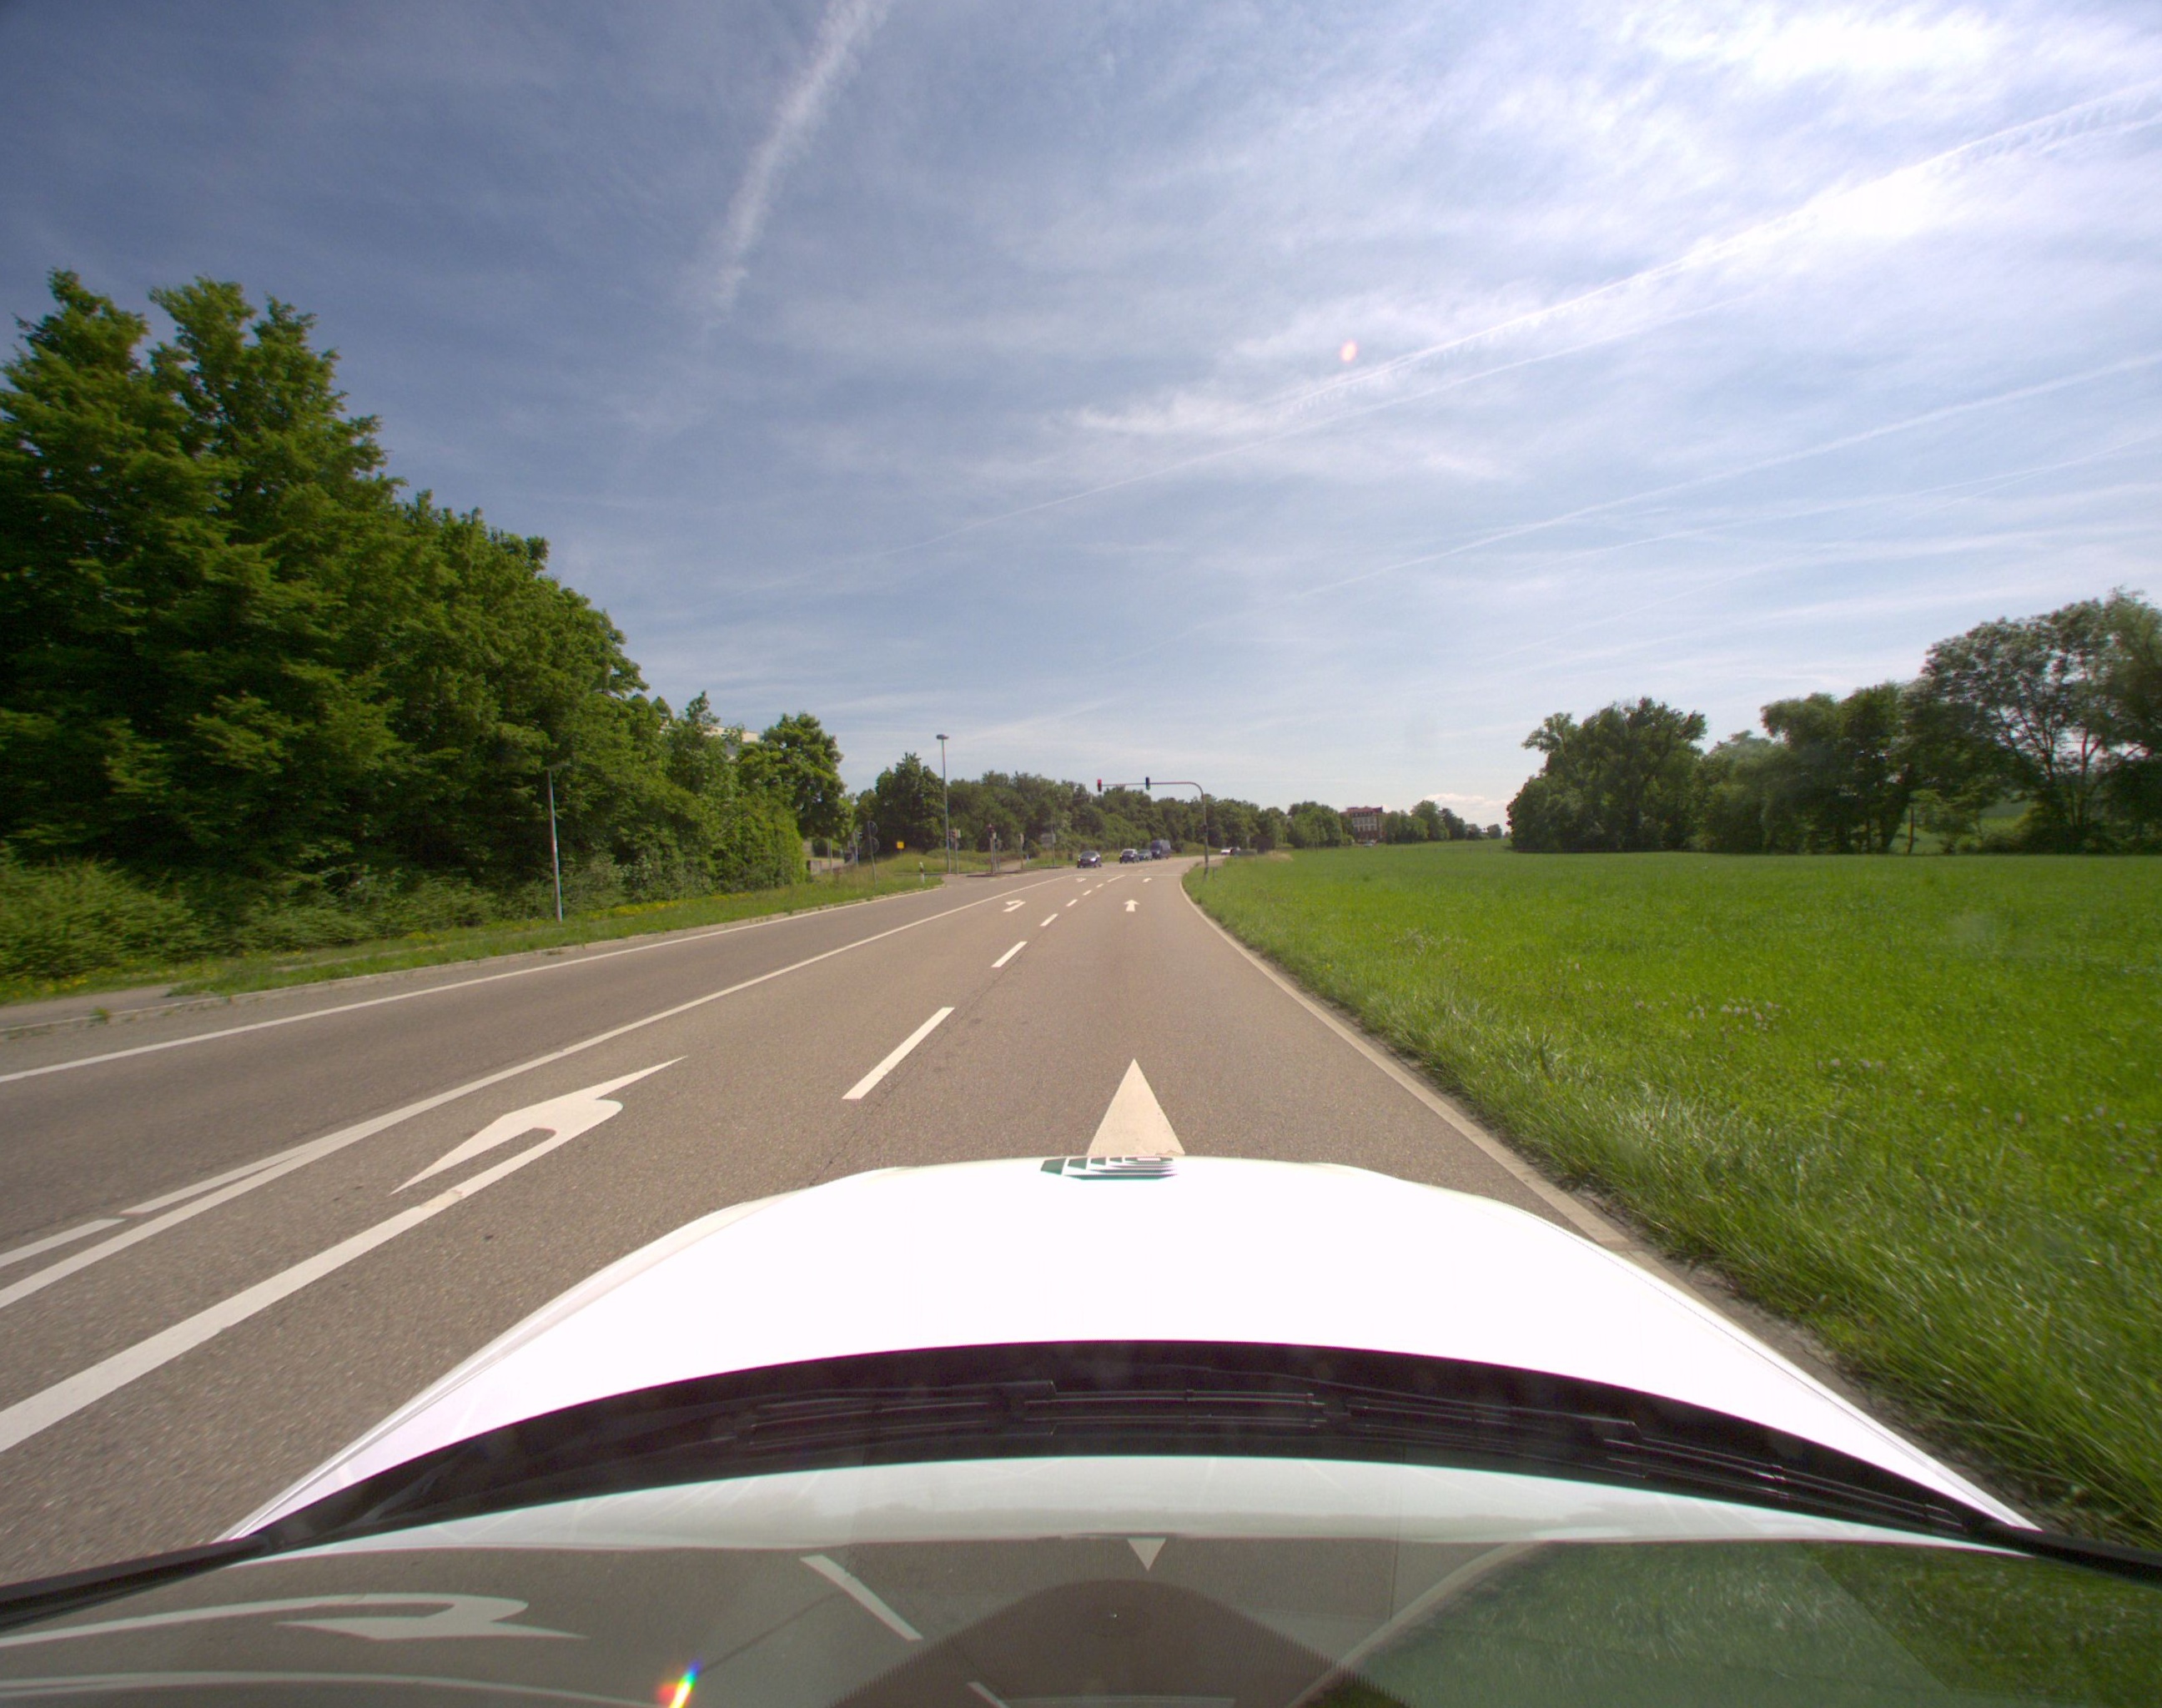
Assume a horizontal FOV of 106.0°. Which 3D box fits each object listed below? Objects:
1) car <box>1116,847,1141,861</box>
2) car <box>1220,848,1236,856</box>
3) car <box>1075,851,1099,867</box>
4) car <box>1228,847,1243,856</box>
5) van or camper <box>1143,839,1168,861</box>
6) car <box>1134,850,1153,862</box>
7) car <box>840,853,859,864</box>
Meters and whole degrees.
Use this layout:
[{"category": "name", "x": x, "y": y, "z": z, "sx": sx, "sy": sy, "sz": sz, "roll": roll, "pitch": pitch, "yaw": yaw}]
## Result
[{"category": "car", "x": 5.488, "y": -0.015, "z": 94.100, "sx": 1.959, "sy": 1.562, "sz": 4.206, "roll": -1, "pitch": 0, "yaw": 16}, {"category": "car", "x": 29.178, "y": -0.451, "z": 161.162, "sx": 1.919, "sy": 1.548, "sz": 4.654, "roll": -1, "pitch": 0, "yaw": 25}, {"category": "car", "x": 0.558, "y": 0.440, "z": 74.487, "sx": 1.782, "sy": 1.474, "sz": 4.317, "roll": -1, "pitch": 0, "yaw": 6}, {"category": "car", "x": 27.983, "y": -0.473, "z": 147.223, "sx": 1.976, "sy": 1.574, "sz": 4.021, "roll": -2, "pitch": 0, "yaw": 21}, {"category": "van or camper", "x": 10.944, "y": -0.649, "z": 118.969, "sx": 2.222, "sy": 2.913, "sz": 7.279, "roll": -2, "pitch": 1, "yaw": 16}, {"category": "car", "x": 8.205, "y": 0.245, "z": 106.928, "sx": 1.694, "sy": 1.483, "sz": 3.848, "roll": -1, "pitch": 0, "yaw": 16}, {"category": "car", "x": -34.473, "y": 0.649, "z": 121.564, "sx": 1.991, "sy": 1.552, "sz": 3.992, "roll": -1, "pitch": 0, "yaw": -6}]
